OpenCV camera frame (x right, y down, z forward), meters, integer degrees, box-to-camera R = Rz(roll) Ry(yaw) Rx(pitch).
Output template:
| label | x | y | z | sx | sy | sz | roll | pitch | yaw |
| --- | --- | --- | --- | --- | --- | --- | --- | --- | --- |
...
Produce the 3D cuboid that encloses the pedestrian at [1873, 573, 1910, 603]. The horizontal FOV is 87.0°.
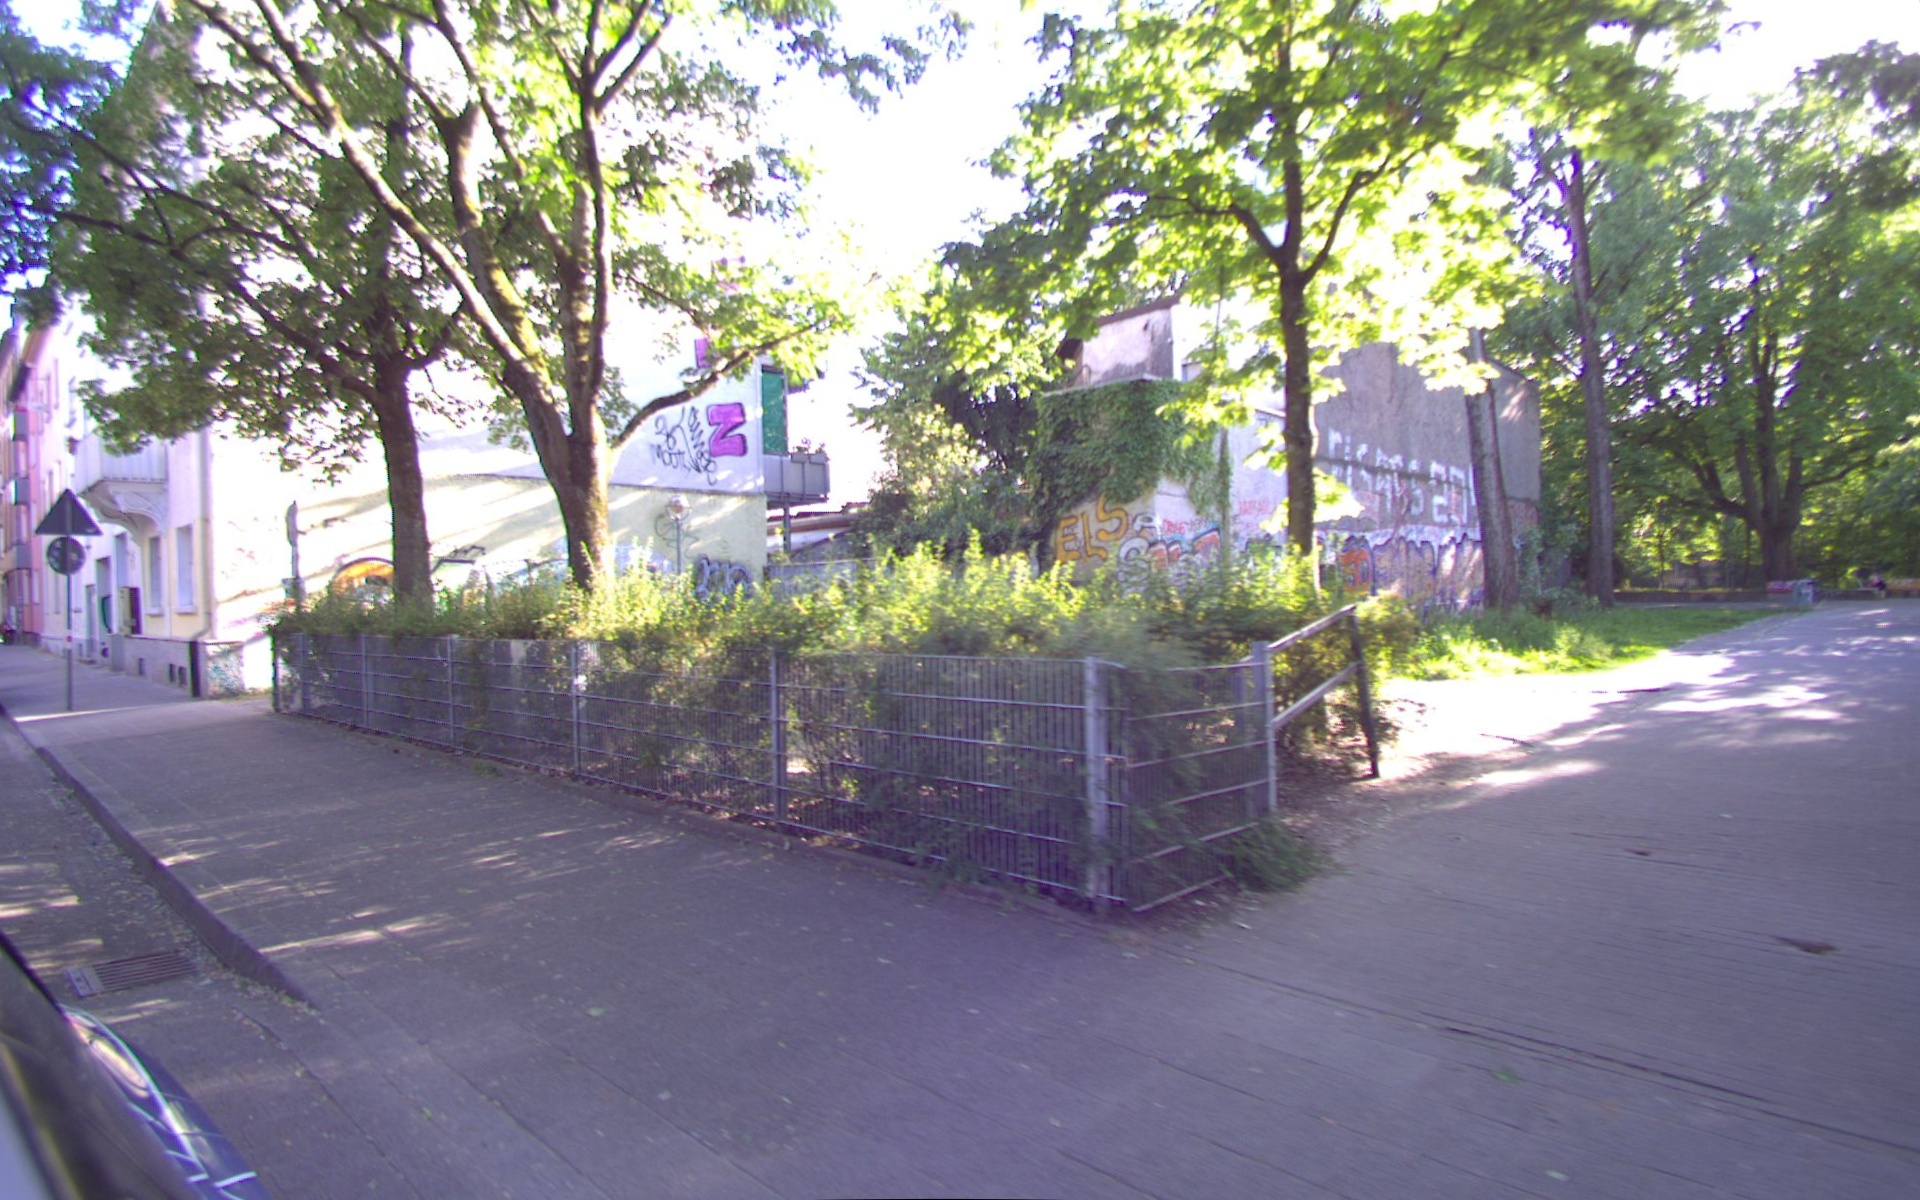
| label | x | y | z | sx | sy | sz | roll | pitch | yaw |
| --- | --- | --- | --- | --- | --- | --- | --- | --- | --- |
| pedestrian | 35.048 | -0.451 | 38.085 | 0.762 | 1.099 | 0.761 | -1 | 0 | 18 |
